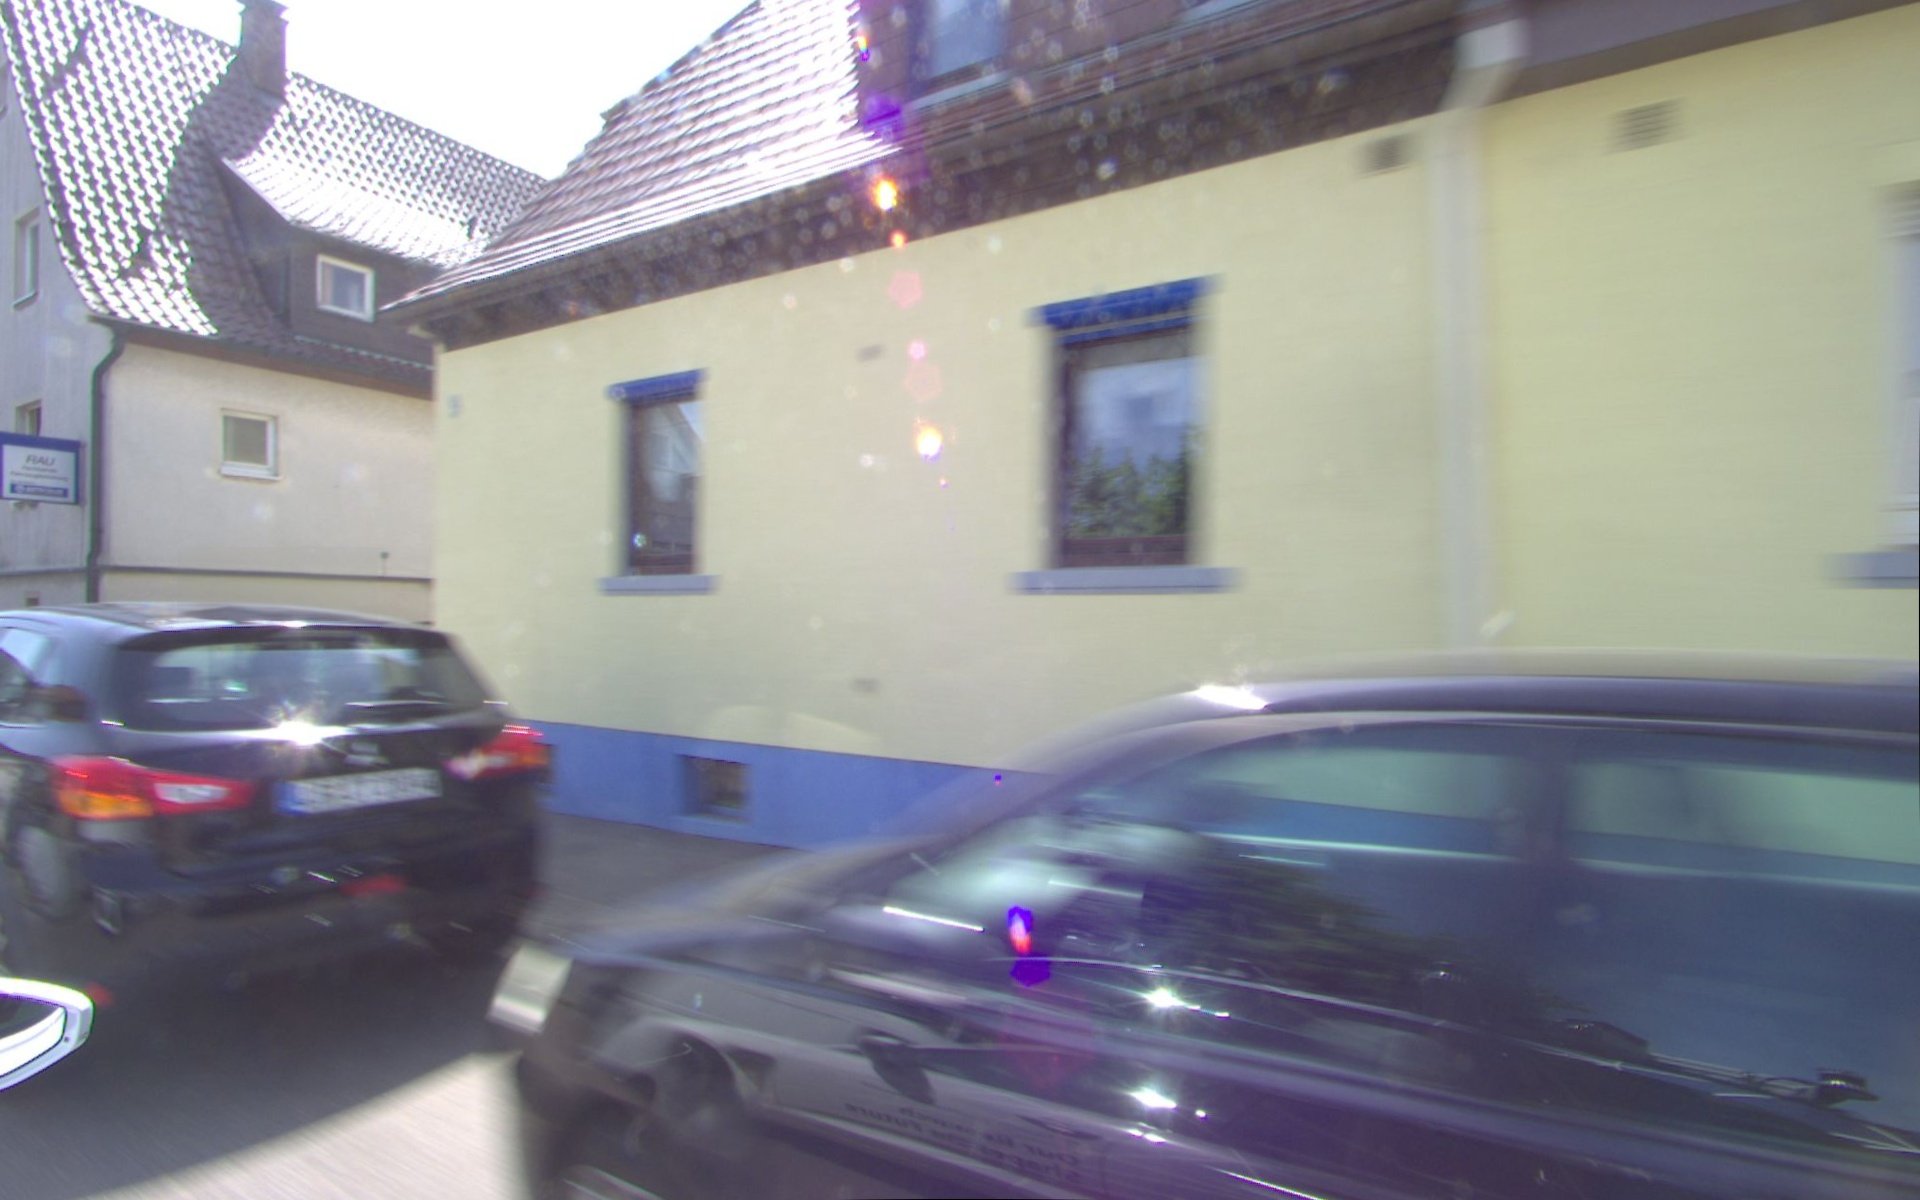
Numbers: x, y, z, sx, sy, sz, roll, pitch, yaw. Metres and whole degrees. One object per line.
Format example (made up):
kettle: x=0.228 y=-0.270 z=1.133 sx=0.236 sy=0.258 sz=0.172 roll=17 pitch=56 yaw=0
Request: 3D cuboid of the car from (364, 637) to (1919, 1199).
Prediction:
car: x=0.738 y=0.817 z=1.806 sx=3.700 sy=1.449 sz=1.608 roll=-1 pitch=-2 yaw=32

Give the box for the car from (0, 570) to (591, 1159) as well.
car: x=-3.777 y=0.787 z=4.658 sx=4.194 sy=1.620 sz=1.725 roll=-1 pitch=-2 yaw=34

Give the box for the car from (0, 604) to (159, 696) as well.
car: x=-20.064 y=1.047 z=21.153 sx=1.970 sy=1.866 sz=4.512 roll=0 pitch=-2 yaw=30
